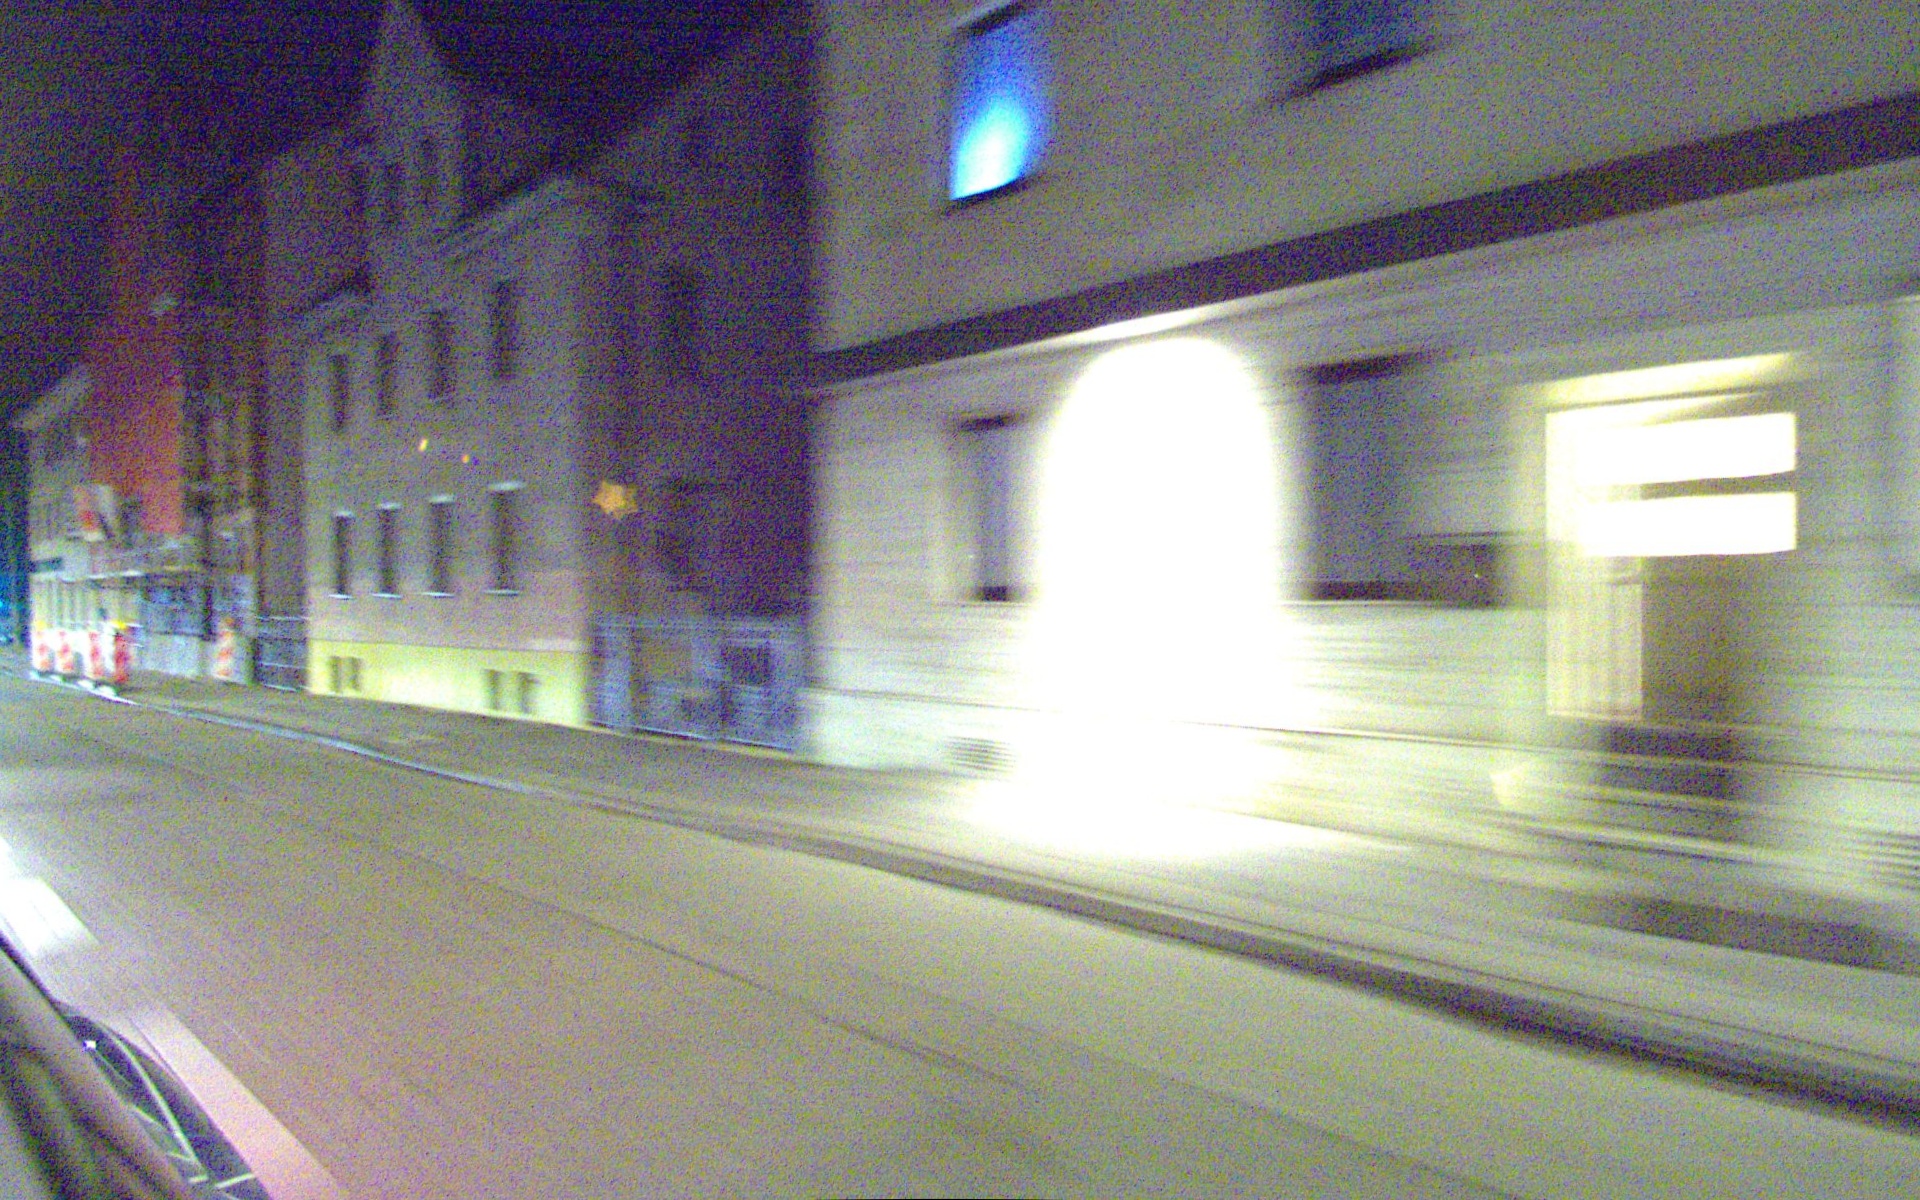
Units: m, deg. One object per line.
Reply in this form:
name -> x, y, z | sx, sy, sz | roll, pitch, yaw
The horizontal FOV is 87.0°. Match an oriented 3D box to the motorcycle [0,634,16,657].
motorcycle -> -52.067, 2.465, 54.839 | 2.019, 1.189, 0.569 | -1, -1, 24

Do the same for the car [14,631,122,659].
car -> -48.150, 2.407, 54.655 | 4.676, 1.435, 1.887 | 0, -2, 10
